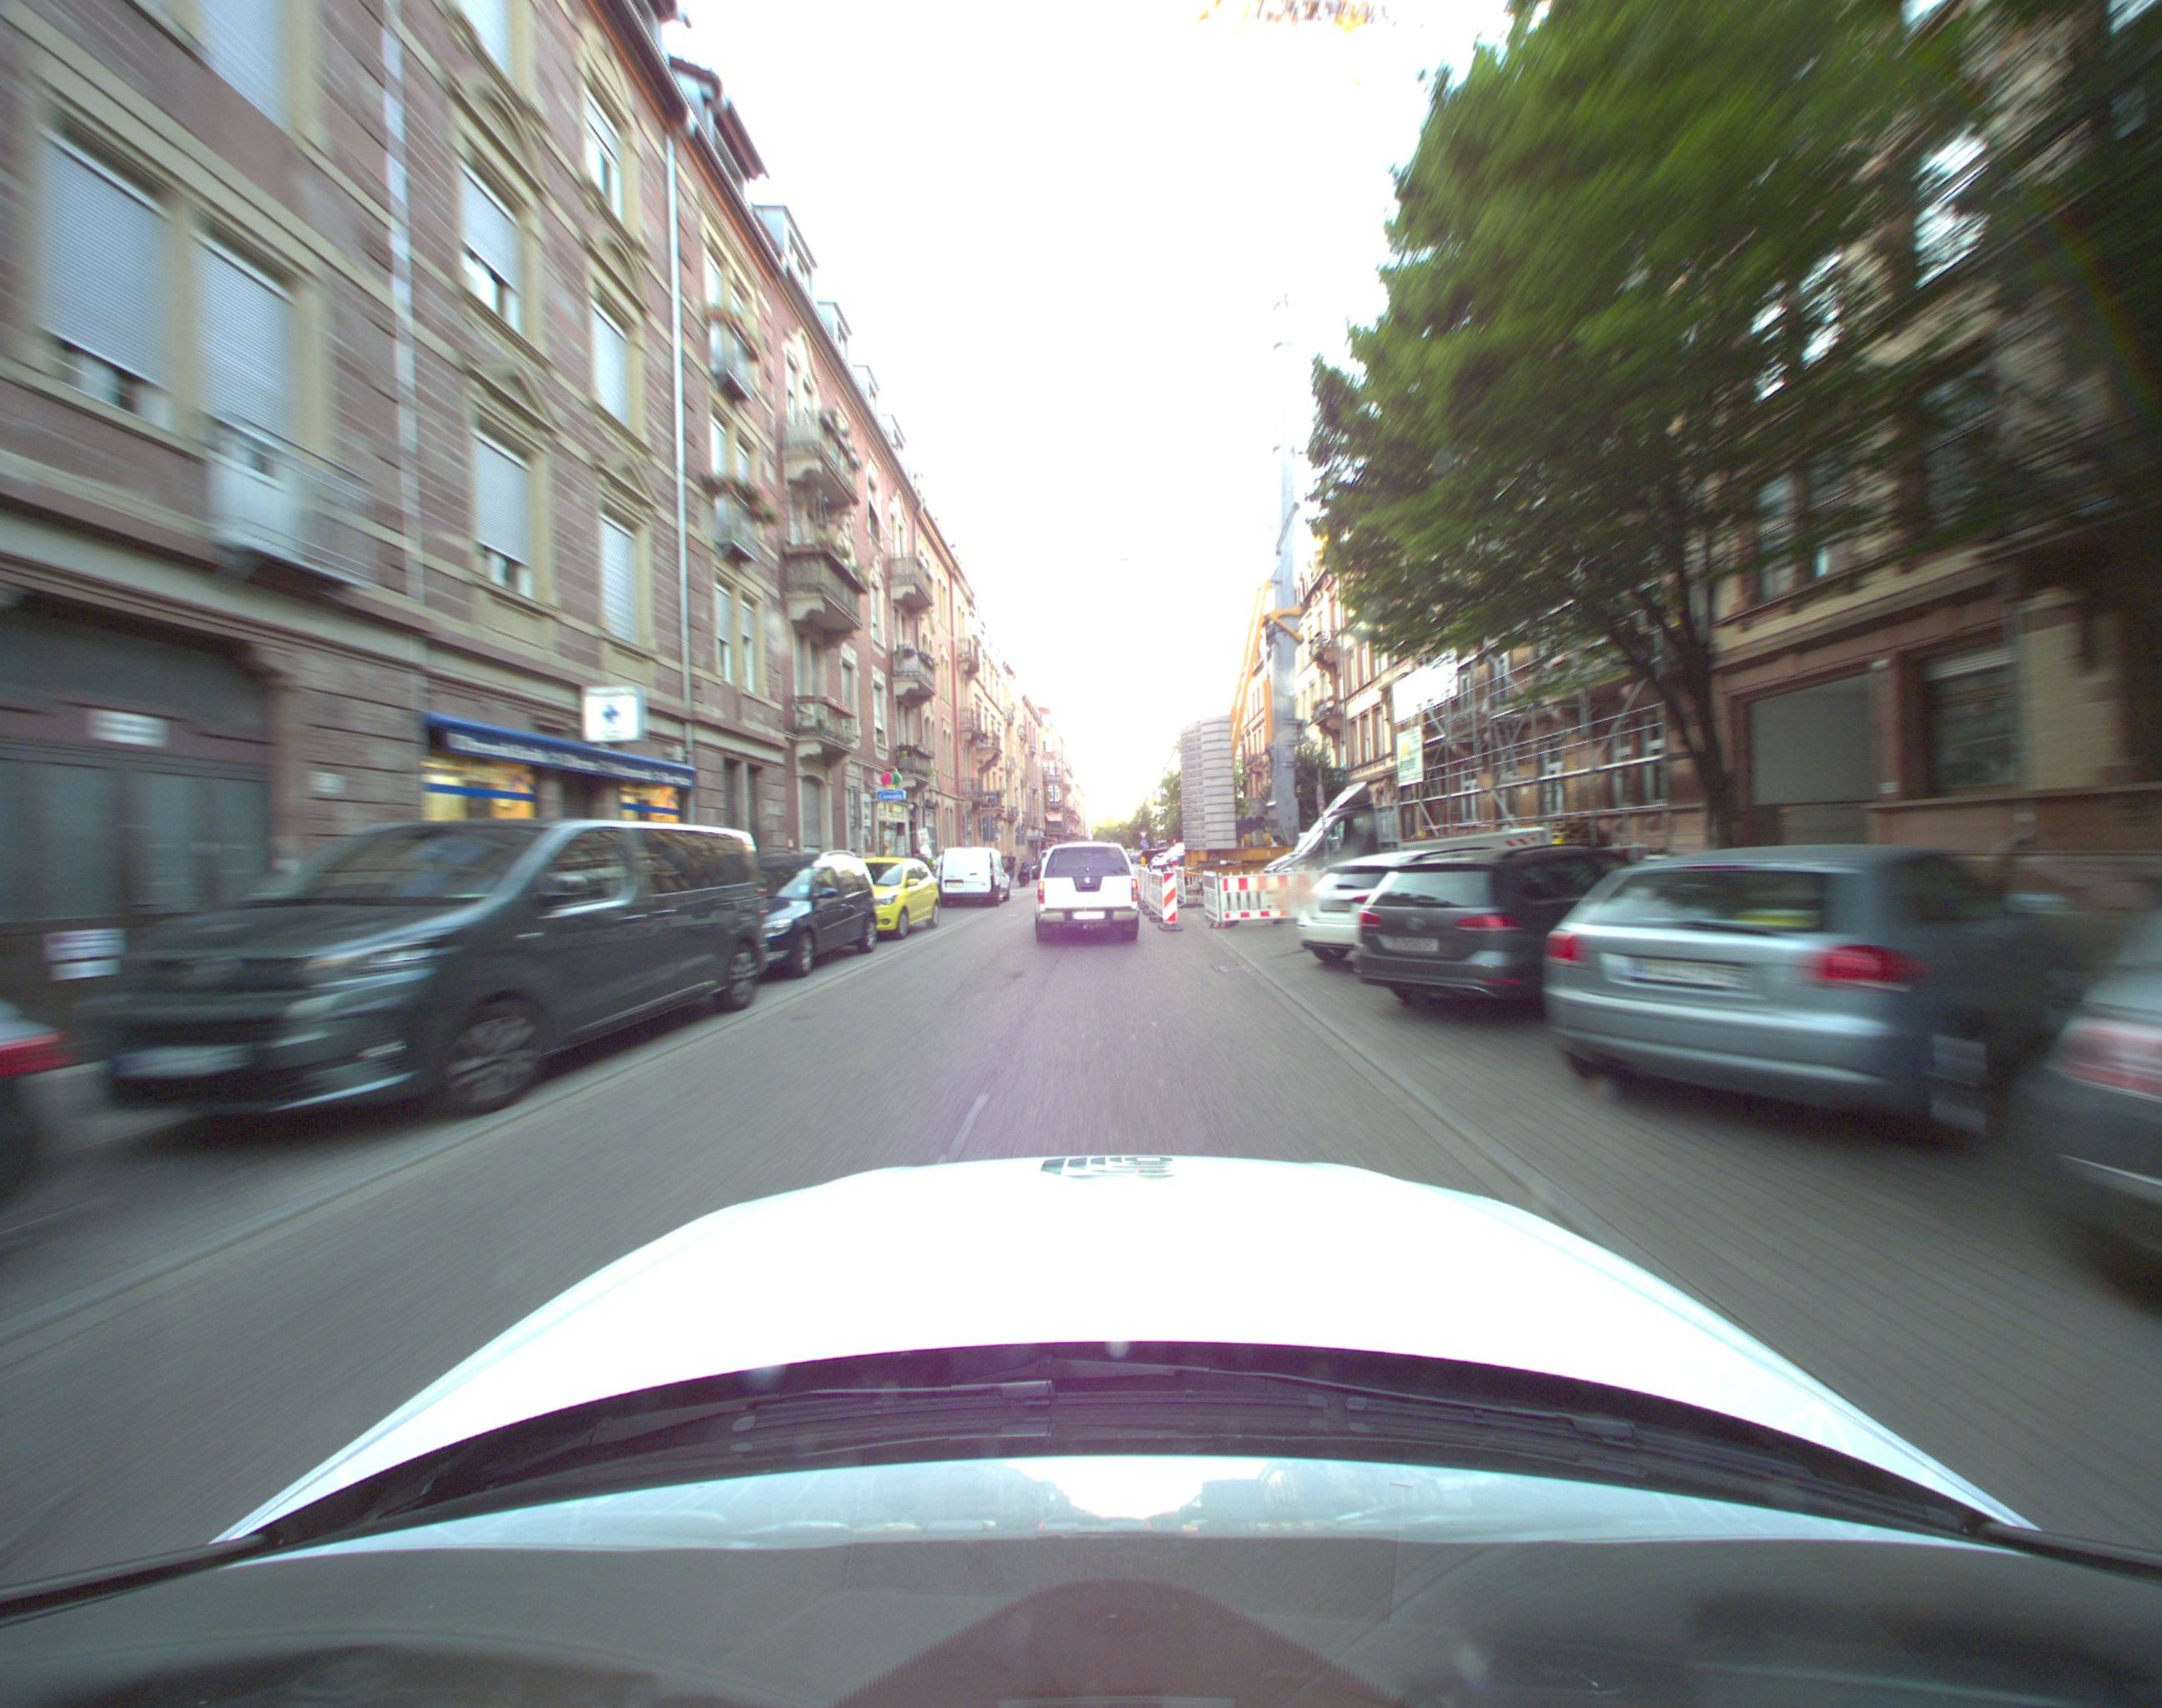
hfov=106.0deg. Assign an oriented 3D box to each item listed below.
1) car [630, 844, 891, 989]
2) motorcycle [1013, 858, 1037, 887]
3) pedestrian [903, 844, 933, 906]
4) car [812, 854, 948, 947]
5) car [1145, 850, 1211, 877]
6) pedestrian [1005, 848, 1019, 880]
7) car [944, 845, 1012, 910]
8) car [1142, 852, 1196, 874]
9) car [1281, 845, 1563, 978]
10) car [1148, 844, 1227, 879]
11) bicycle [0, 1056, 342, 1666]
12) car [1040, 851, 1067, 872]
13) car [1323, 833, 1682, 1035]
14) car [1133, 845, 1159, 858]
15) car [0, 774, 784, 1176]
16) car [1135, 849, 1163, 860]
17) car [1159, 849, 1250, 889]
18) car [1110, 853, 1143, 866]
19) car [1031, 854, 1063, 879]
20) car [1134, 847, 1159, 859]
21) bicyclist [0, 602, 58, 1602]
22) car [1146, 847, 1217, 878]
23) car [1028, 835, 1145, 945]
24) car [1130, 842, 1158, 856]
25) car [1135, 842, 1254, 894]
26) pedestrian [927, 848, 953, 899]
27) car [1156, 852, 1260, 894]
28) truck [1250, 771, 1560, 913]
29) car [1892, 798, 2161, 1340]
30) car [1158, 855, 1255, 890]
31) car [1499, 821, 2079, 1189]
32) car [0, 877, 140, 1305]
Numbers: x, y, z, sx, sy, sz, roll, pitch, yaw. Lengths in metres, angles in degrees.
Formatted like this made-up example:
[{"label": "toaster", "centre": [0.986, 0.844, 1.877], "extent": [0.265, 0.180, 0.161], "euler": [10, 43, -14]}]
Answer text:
[{"label": "car", "centre": [-4.327, 0.755, 11.805], "extent": [1.896, 1.663, 4.072], "euler": [-2, 0, 4]}, {"label": "motorcycle", "centre": [-2.795, 0.906, 41.129], "extent": [0.833, 1.416, 2.551], "euler": [-1, 0, 4]}, {"label": "pedestrian", "centre": [-4.995, 0.639, 24.985], "extent": [0.735, 1.869, 0.618], "euler": [-1, 0, 1]}, {"label": "car", "centre": [-3.906, 0.836, 16.450], "extent": [1.492, 1.593, 3.860], "euler": [-2, 0, 4]}, {"label": "car", "centre": [6.268, 0.590, 52.814], "extent": [4.175, 1.622, 1.822], "euler": [-1, 0, 5]}, {"label": "pedestrian", "centre": [-4.439, 0.620, 52.482], "extent": [0.785, 2.013, 0.935], "euler": [-1, 0, 2]}, {"label": "car", "centre": [-3.224, 0.687, 26.042], "extent": [1.553, 1.921, 3.858], "euler": [0, 0, 2]}, {"label": "car", "centre": [6.882, 0.669, 63.950], "extent": [4.175, 1.622, 1.822], "euler": [-1, 0, 5]}, {"label": "car", "centre": [4.596, 0.660, 10.901], "extent": [3.569, 1.464, 1.596], "euler": [-1, 0, -29]}, {"label": "car", "centre": [5.760, 0.403, 44.348], "extent": [4.175, 1.780, 1.822], "euler": [-1, 0, 5]}, {"label": "bicycle", "centre": [-2.390, 1.021, 1.171], "extent": [0.797, 0.947, 2.004], "euler": [-1, 0, 0]}, {"label": "car", "centre": [-1.999, 0.535, 60.724], "extent": [1.703, 1.530, 4.002], "euler": [-1, 0, 2]}, {"label": "car", "centre": [4.288, 0.595, 8.054], "extent": [3.912, 1.530, 1.619], "euler": [-1, 0, -37]}, {"label": "car", "centre": [11.336, -0.488, 141.874], "extent": [4.566, 2.177, 1.822], "euler": [-1, 0, 5]}, {"label": "car", "centre": [-4.334, 0.597, 6.440], "extent": [1.897, 1.925, 4.951], "euler": [-1, 0, 3]}, {"label": "car", "centre": [10.488, 0.116, 125.123], "extent": [4.175, 1.622, 1.822], "euler": [-1, 0, 5]}, {"label": "car", "centre": [5.921, 0.694, 39.025], "extent": [4.172, 1.780, 1.824], "euler": [-1, 0, 8]}, {"label": "car", "centre": [5.589, 0.669, 99.944], "extent": [3.721, 1.594, 1.684], "euler": [-1, 0, 37]}, {"label": "car", "centre": [-2.240, 0.816, 55.044], "extent": [1.784, 1.530, 4.003], "euler": [-1, 0, 3]}, {"label": "car", "centre": [12.483, -0.199, 154.589], "extent": [4.566, 2.177, 1.822], "euler": [-1, 0, 5]}, {"label": "bicyclist", "centre": [-2.409, 0.460, 1.113], "extent": [0.798, 1.849, 0.943], "euler": [-1, 0, 0]}, {"label": "car", "centre": [6.125, 0.527, 49.963], "extent": [4.175, 1.780, 1.822], "euler": [-1, 0, 5]}, {"label": "car", "centre": [-0.049, 0.610, 16.058], "extent": [1.930, 1.794, 4.615], "euler": [-1, 0, -4]}, {"label": "car", "centre": [10.603, -0.841, 136.886], "extent": [4.566, 2.177, 1.822], "euler": [-1, 0, 5]}, {"label": "car", "centre": [4.190, 0.508, 30.086], "extent": [4.172, 1.780, 1.824], "euler": [-1, 0, 8]}, {"label": "pedestrian", "centre": [-5.245, 0.706, 30.297], "extent": [0.610, 1.869, 0.745], "euler": [-1, 0, 25]}, {"label": "car", "centre": [5.260, 0.772, 34.105], "extent": [4.175, 1.622, 1.822], "euler": [-1, 0, 5]}, {"label": "truck", "centre": [7.315, -0.206, 19.047], "extent": [6.293, 2.977, 2.266], "euler": [-1, -3, 3]}, {"label": "car", "centre": [4.935, 0.509, 2.764], "extent": [3.842, 1.530, 1.749], "euler": [-3, 0, -23]}, {"label": "car", "centre": [5.604, 0.814, 36.529], "extent": [4.172, 1.429, 1.824], "euler": [-1, 0, 8]}, {"label": "car", "centre": [4.629, 0.608, 5.200], "extent": [3.852, 1.436, 1.744], "euler": [-3, 1, -32]}, {"label": "car", "centre": [-4.785, 0.840, 0.988], "extent": [1.904, 1.472, 4.536], "euler": [-1, 0, 2]}]
